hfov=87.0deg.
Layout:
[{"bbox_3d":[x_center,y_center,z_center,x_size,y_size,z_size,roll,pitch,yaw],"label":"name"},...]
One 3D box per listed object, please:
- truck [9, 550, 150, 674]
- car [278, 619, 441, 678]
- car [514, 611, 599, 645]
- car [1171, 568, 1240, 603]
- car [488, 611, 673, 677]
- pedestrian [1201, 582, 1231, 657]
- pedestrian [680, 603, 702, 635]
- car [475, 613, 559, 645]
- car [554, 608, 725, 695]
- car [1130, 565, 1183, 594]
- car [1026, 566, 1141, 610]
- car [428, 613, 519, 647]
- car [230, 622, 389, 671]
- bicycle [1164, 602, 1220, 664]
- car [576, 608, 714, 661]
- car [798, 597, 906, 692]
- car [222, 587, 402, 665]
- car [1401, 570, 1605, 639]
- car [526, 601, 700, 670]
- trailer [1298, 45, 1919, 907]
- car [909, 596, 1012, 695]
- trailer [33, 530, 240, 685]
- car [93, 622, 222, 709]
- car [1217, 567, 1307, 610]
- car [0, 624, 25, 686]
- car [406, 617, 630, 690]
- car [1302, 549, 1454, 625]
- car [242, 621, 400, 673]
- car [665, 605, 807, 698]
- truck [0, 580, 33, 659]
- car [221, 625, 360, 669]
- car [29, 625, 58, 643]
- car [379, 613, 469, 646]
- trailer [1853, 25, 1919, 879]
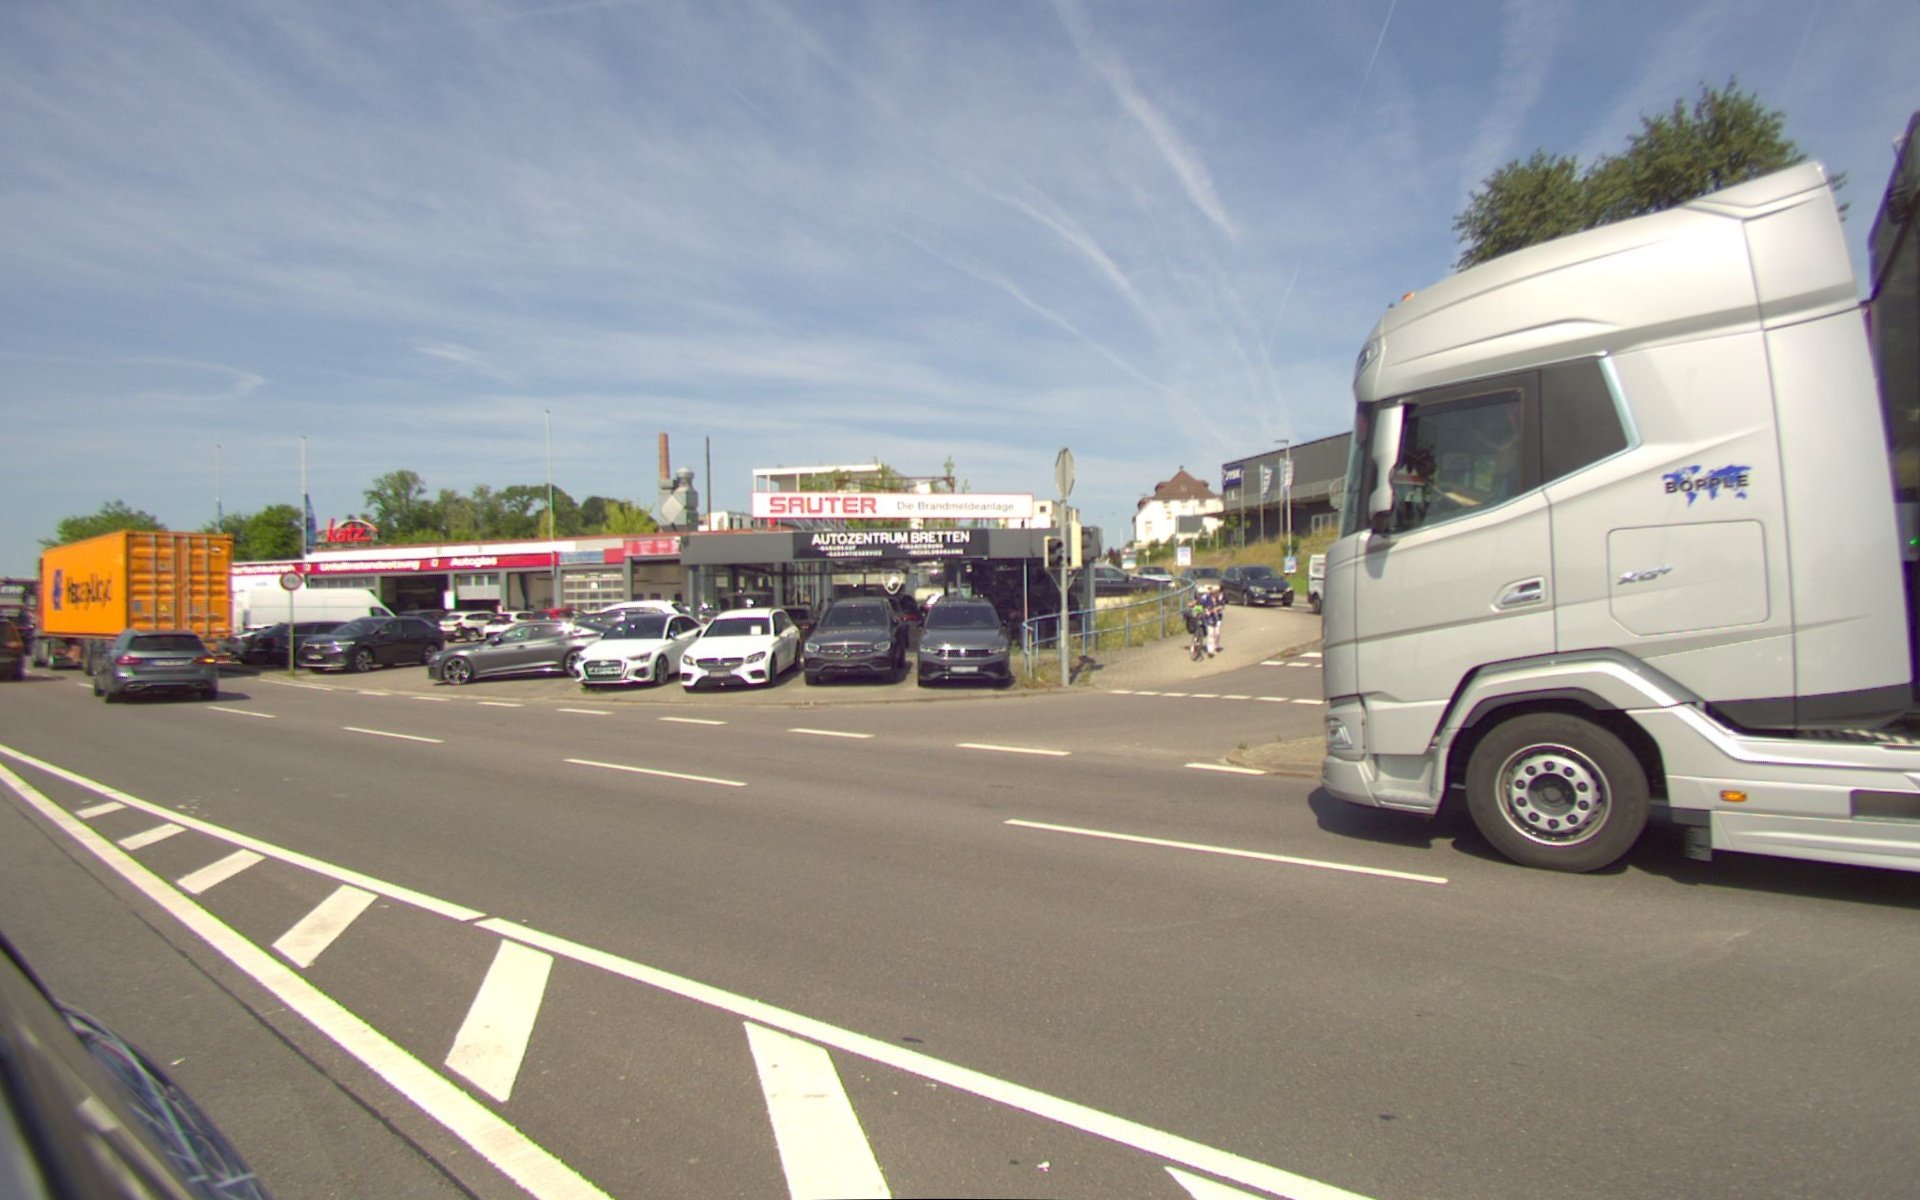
[{"bbox_3d":[-31.231,0.459,35.837,6.049,4.028,2.695,-1,-1,38],"label":"truck"},{"bbox_3d":[-18.344,1.441,31.160,2.010,1.635,4.165,-1,-1,13],"label":"car"},{"bbox_3d":[-20.495,1.390,51.574,1.902,1.630,3.976,-1,-1,18],"label":"car"},{"bbox_3d":[11.472,-0.708,47.536,1.971,1.574,4.512,-1,1,-2],"label":"car"},{"bbox_3d":[-10.055,1.133,27.062,4.277,1.498,1.802,-2,0,-6],"label":"car"},{"bbox_3d":[5.492,0.415,21.678,0.493,1.545,0.381,-1,4,29],"label":"pedestrian"},{"bbox_3d":[-15.041,1.081,56.578,0.739,1.740,0.860,-1,1,25],"label":"pedestrian"},{"bbox_3d":[-22.844,1.484,52.363,1.869,1.531,3.920,-1,-1,18],"label":"car"},{"bbox_3d":[-7.085,1.077,22.962,1.870,1.486,4.707,-2,2,7],"label":"car"},{"bbox_3d":[11.084,-1.155,57.389,1.971,1.574,4.512,-1,1,-2],"label":"car"},{"bbox_3d":[4.625,-0.456,38.307,4.012,1.574,2.001,-1,1,-2],"label":"car"},{"bbox_3d":[-25.538,1.561,53.269,1.977,1.619,3.966,-1,-1,25],"label":"car"},{"bbox_3d":[-22.738,1.588,35.486,2.028,1.542,4.323,-1,-1,40],"label":"car"},{"bbox_3d":[5.097,0.692,22.116,0.588,1.036,2.200,-1,6,28],"label":"bicycle"},{"bbox_3d":[-10.547,1.142,34.155,4.082,1.535,1.829,-2,0,-2],"label":"car"},{"bbox_3d":[-2.229,0.852,22.072,1.905,1.638,4.798,-1,2,-1],"label":"car"},{"bbox_3d":[-25.404,0.997,39.868,2.116,2.860,5.647,-3,-2,42],"label":"car"},{"bbox_3d":[12.766,0.029,24.242,1.920,1.429,4.979,-1,2,-4],"label":"car"},{"bbox_3d":[-10.056,0.993,29.559,4.404,1.762,1.894,-2,0,-2],"label":"car"},{"bbox_3d":[5.488,-0.597,5.827,6.171,4.136,2.620,-1,-1,38],"label":"trailer"},{"bbox_3d":[-0.099,0.850,21.370,1.862,1.638,4.746,-2,2,-3],"label":"car"},{"bbox_3d":[-25.758,0.318,31.296,12.224,4.028,2.693,-1,-1,40],"label":"trailer"},{"bbox_3d":[-16.942,1.313,21.279,1.897,1.614,4.595,1,-3,-41],"label":"car"},{"bbox_3d":[11.850,-0.478,40.011,1.970,1.574,4.514,-1,1,-4],"label":"car"},{"bbox_3d":[-27.198,1.493,27.551,4.583,1.614,1.889,-2,-3,39],"label":"car"},{"bbox_3d":[-10.619,1.258,24.589,4.570,1.447,1.977,-2,0,-5],"label":"car"},{"bbox_3d":[12.680,-0.460,31.178,2.037,2.056,5.520,-2,2,-4],"label":"car"},{"bbox_3d":[-20.911,1.494,33.214,2.030,1.542,3.993,-1,-1,40],"label":"car"},{"bbox_3d":[-4.657,1.009,21.811,1.928,1.524,4.716,-2,2,1],"label":"car"},{"bbox_3d":[-52.628,1.084,54.332,9.963,4.028,2.685,-1,-1,39],"label":"truck"},{"bbox_3d":[-24.586,1.690,37.253,1.881,1.481,3.944,-2,-1,42],"label":"car"},{"bbox_3d":[-79.935,3.004,88.315,1.801,1.538,4.464,2,-3,-42],"label":"car"},{"bbox_3d":[-28.613,1.574,54.122,1.864,1.631,3.969,-1,-1,23],"label":"car"},{"bbox_3d":[10.856,-0.787,1.626,13.859,4.179,2.666,-1,-1,38],"label":"trailer"}]
